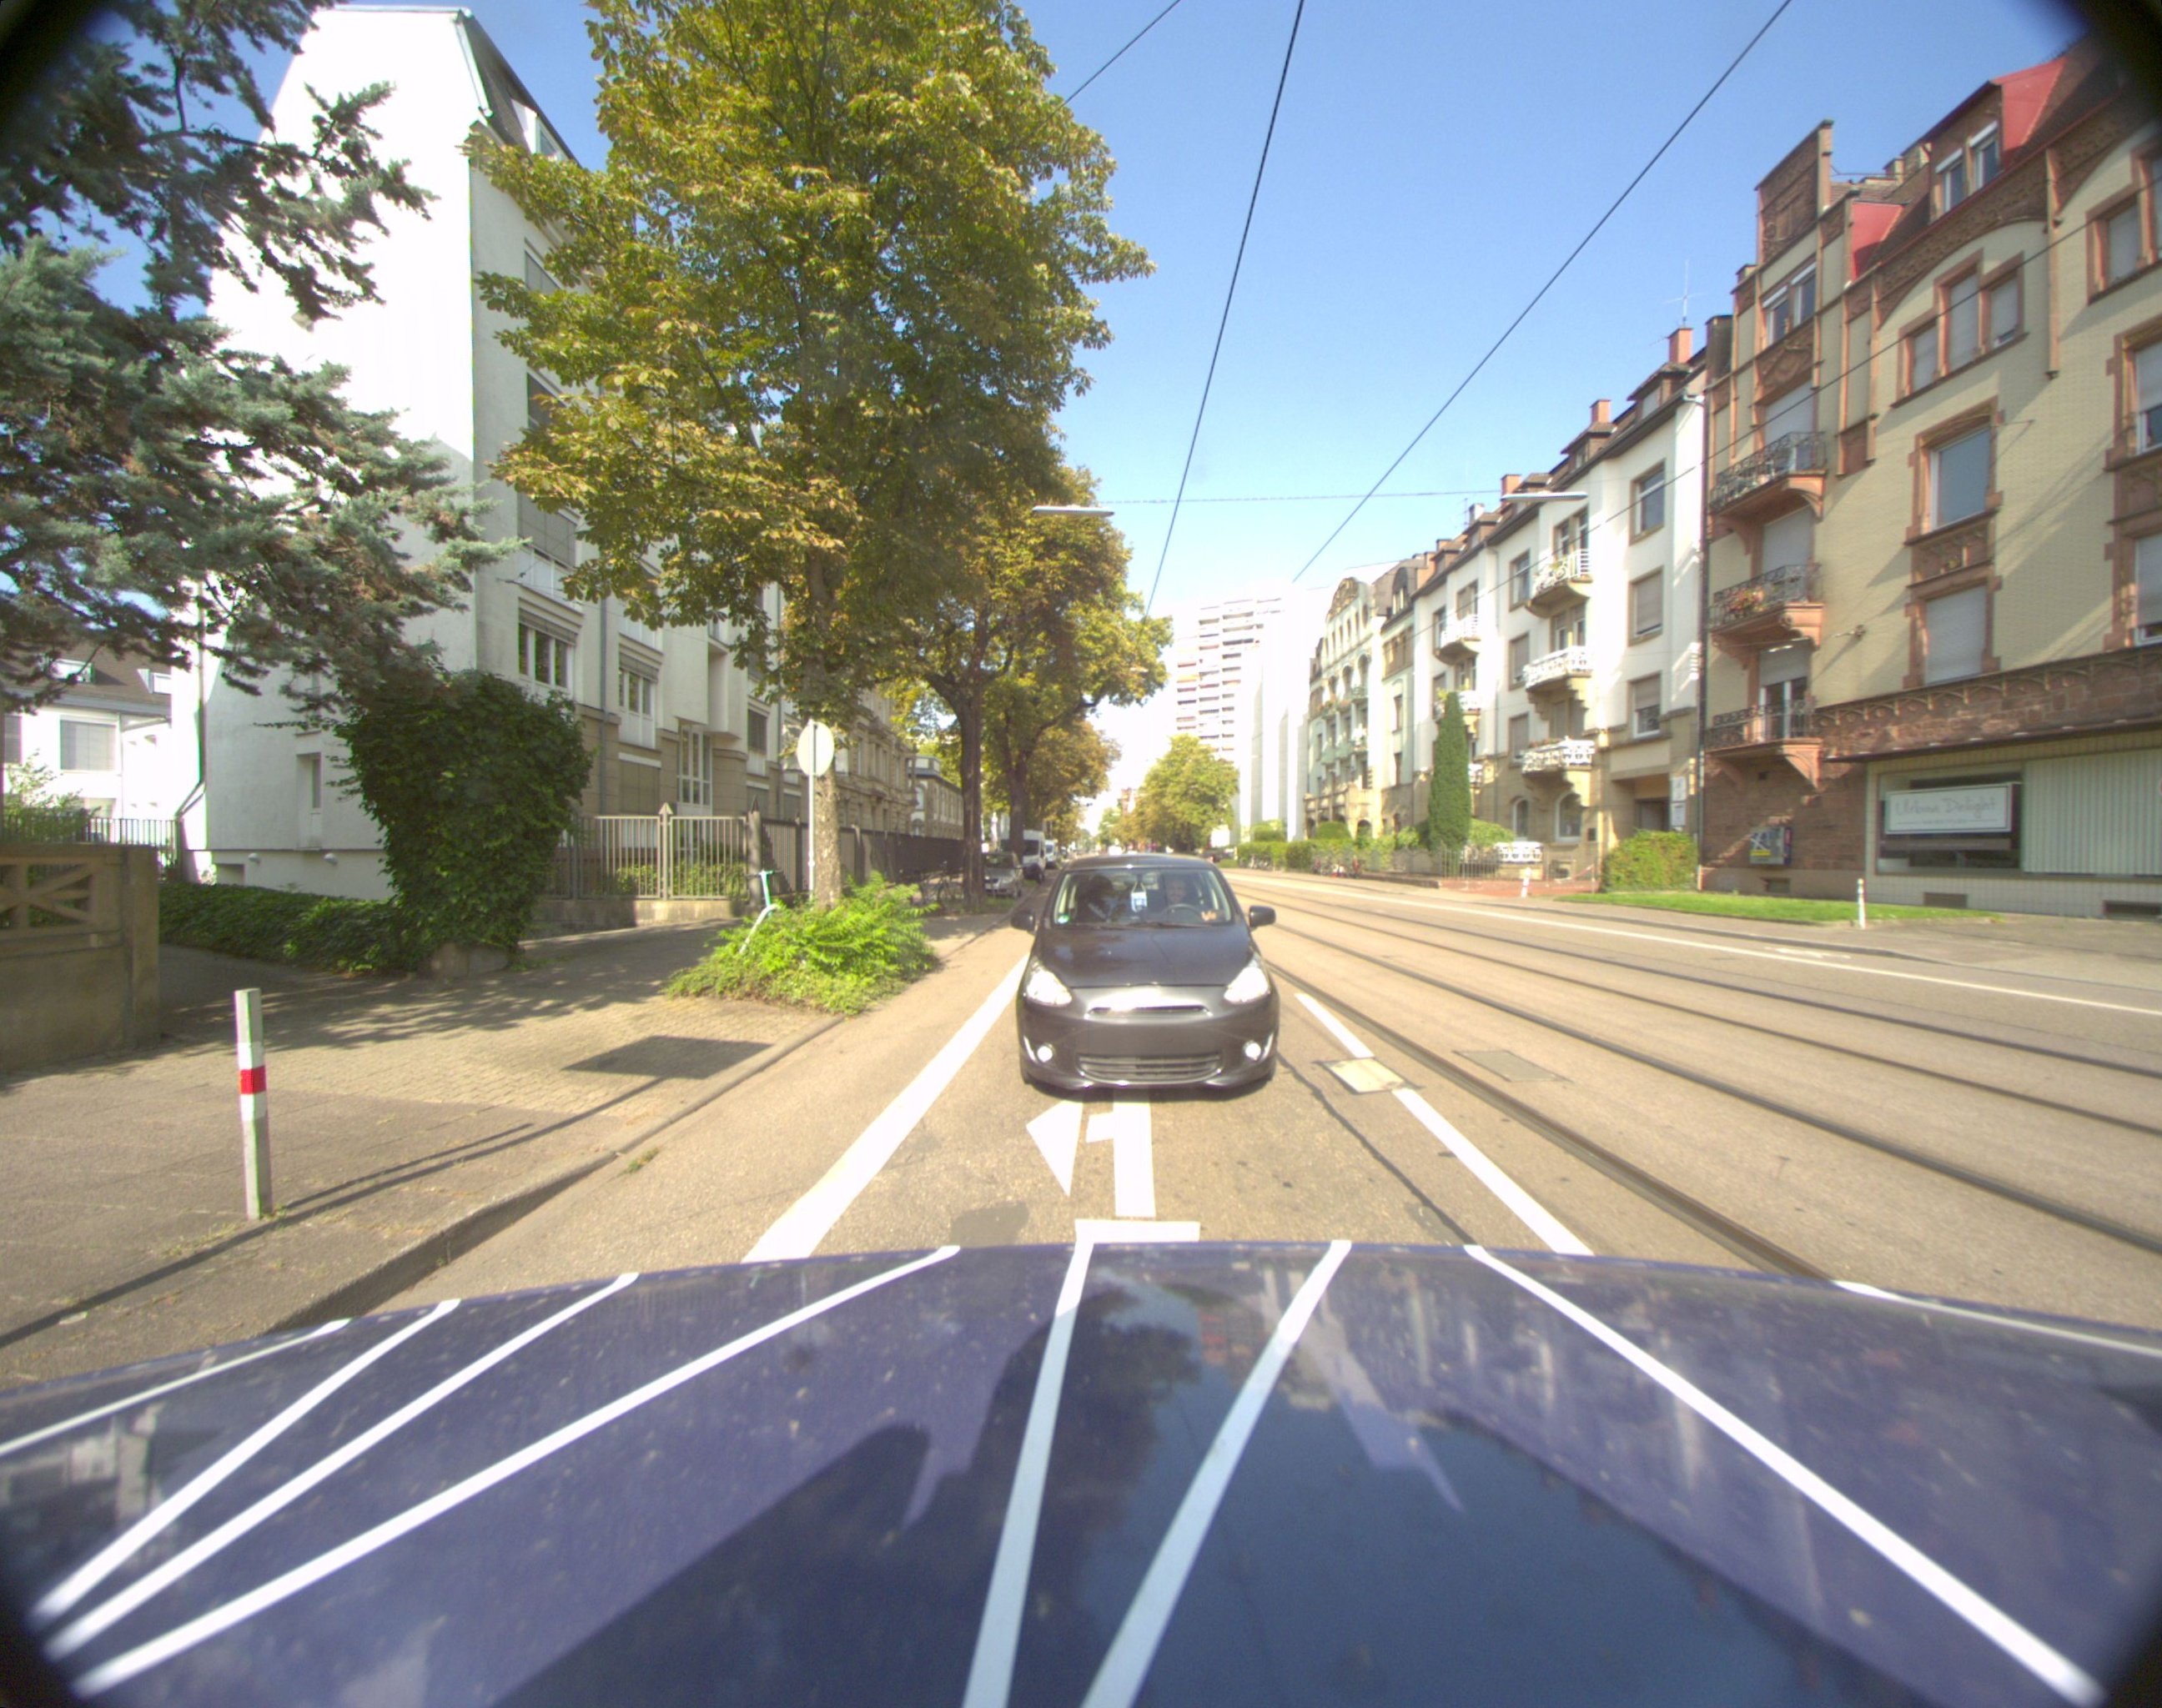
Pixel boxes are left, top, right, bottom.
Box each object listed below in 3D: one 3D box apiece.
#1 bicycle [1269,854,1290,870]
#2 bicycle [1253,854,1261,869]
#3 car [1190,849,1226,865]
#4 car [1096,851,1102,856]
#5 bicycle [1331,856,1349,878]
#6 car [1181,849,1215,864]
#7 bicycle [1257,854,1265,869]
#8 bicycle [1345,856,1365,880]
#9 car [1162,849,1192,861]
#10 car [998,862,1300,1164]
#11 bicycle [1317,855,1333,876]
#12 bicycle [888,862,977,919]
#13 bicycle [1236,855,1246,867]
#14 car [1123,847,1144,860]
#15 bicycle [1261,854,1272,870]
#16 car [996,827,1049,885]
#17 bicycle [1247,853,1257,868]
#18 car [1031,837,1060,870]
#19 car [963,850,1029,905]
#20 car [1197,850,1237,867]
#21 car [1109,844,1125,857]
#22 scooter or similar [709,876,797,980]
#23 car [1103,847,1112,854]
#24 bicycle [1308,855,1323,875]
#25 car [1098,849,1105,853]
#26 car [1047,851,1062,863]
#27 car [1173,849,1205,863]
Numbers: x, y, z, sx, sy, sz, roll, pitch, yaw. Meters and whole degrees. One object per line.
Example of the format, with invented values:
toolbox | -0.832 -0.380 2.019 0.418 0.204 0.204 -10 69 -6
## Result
bicycle | 13.404 0.539 51.329 1.397 1.081 0.425 0 1 -18
bicycle | 12.763 0.512 55.237 0.425 1.081 1.677 0 1 9
car | 12.721 0.315 75.985 1.767 1.518 4.009 1 1 41
car | 5.095 -0.077 216.865 1.757 1.349 3.788 0 0 1
bicycle | 12.870 0.633 37.789 0.371 1.081 1.355 0 1 -1
car | 12.875 0.265 83.450 1.767 1.518 4.009 1 1 41
bicycle | 12.919 0.530 54.428 0.425 1.081 1.677 0 1 9
bicycle | 12.967 0.654 36.015 0.371 1.081 1.487 0 1 -1
car | 12.004 0.114 95.148 1.767 1.518 4.009 1 1 41
car | 0.361 0.887 6.300 1.611 1.515 4.356 -1 1 0
bicycle | 13.026 0.607 40.548 0.371 1.081 1.355 0 1 -1
bicycle | -3.287 0.813 16.892 1.846 1.160 0.503 2 5 -40
bicycle | 12.739 0.562 60.581 0.425 0.972 1.770 0 1 -1
car | 6.183 -0.104 89.809 1.877 1.446 4.543 3 0 -3
bicycle | 12.779 0.560 52.332 0.425 1.081 1.677 0 1 4
car | -2.682 0.066 36.311 2.051 2.484 6.228 1 0 0
bicycle | 12.876 0.494 57.248 0.425 1.081 1.676 0 1 2
car | -2.880 -0.071 63.287 1.998 2.526 5.867 2 1 0
car | -2.656 0.684 24.582 1.611 1.515 4.356 3 1 0
car | 12.405 0.400 69.353 1.767 1.518 4.009 1 1 41
car | 5.698 -0.573 121.702 1.999 2.002 4.857 0 0 -3
scooter or similar | -4.162 0.909 9.696 0.559 1.190 1.034 3 1 5
car | 5.993 -0.799 172.838 1.701 1.395 4.645 -1 1 -1
bicycle | 13.067 0.603 42.319 0.371 1.081 1.355 0 1 -1
car | 6.138 -0.849 230.242 1.757 1.349 3.787 0 0 -1
car | -3.147 0.315 91.641 1.757 1.349 3.787 0 0 -1
car | 12.291 0.216 86.300 1.767 1.518 4.009 1 1 41
